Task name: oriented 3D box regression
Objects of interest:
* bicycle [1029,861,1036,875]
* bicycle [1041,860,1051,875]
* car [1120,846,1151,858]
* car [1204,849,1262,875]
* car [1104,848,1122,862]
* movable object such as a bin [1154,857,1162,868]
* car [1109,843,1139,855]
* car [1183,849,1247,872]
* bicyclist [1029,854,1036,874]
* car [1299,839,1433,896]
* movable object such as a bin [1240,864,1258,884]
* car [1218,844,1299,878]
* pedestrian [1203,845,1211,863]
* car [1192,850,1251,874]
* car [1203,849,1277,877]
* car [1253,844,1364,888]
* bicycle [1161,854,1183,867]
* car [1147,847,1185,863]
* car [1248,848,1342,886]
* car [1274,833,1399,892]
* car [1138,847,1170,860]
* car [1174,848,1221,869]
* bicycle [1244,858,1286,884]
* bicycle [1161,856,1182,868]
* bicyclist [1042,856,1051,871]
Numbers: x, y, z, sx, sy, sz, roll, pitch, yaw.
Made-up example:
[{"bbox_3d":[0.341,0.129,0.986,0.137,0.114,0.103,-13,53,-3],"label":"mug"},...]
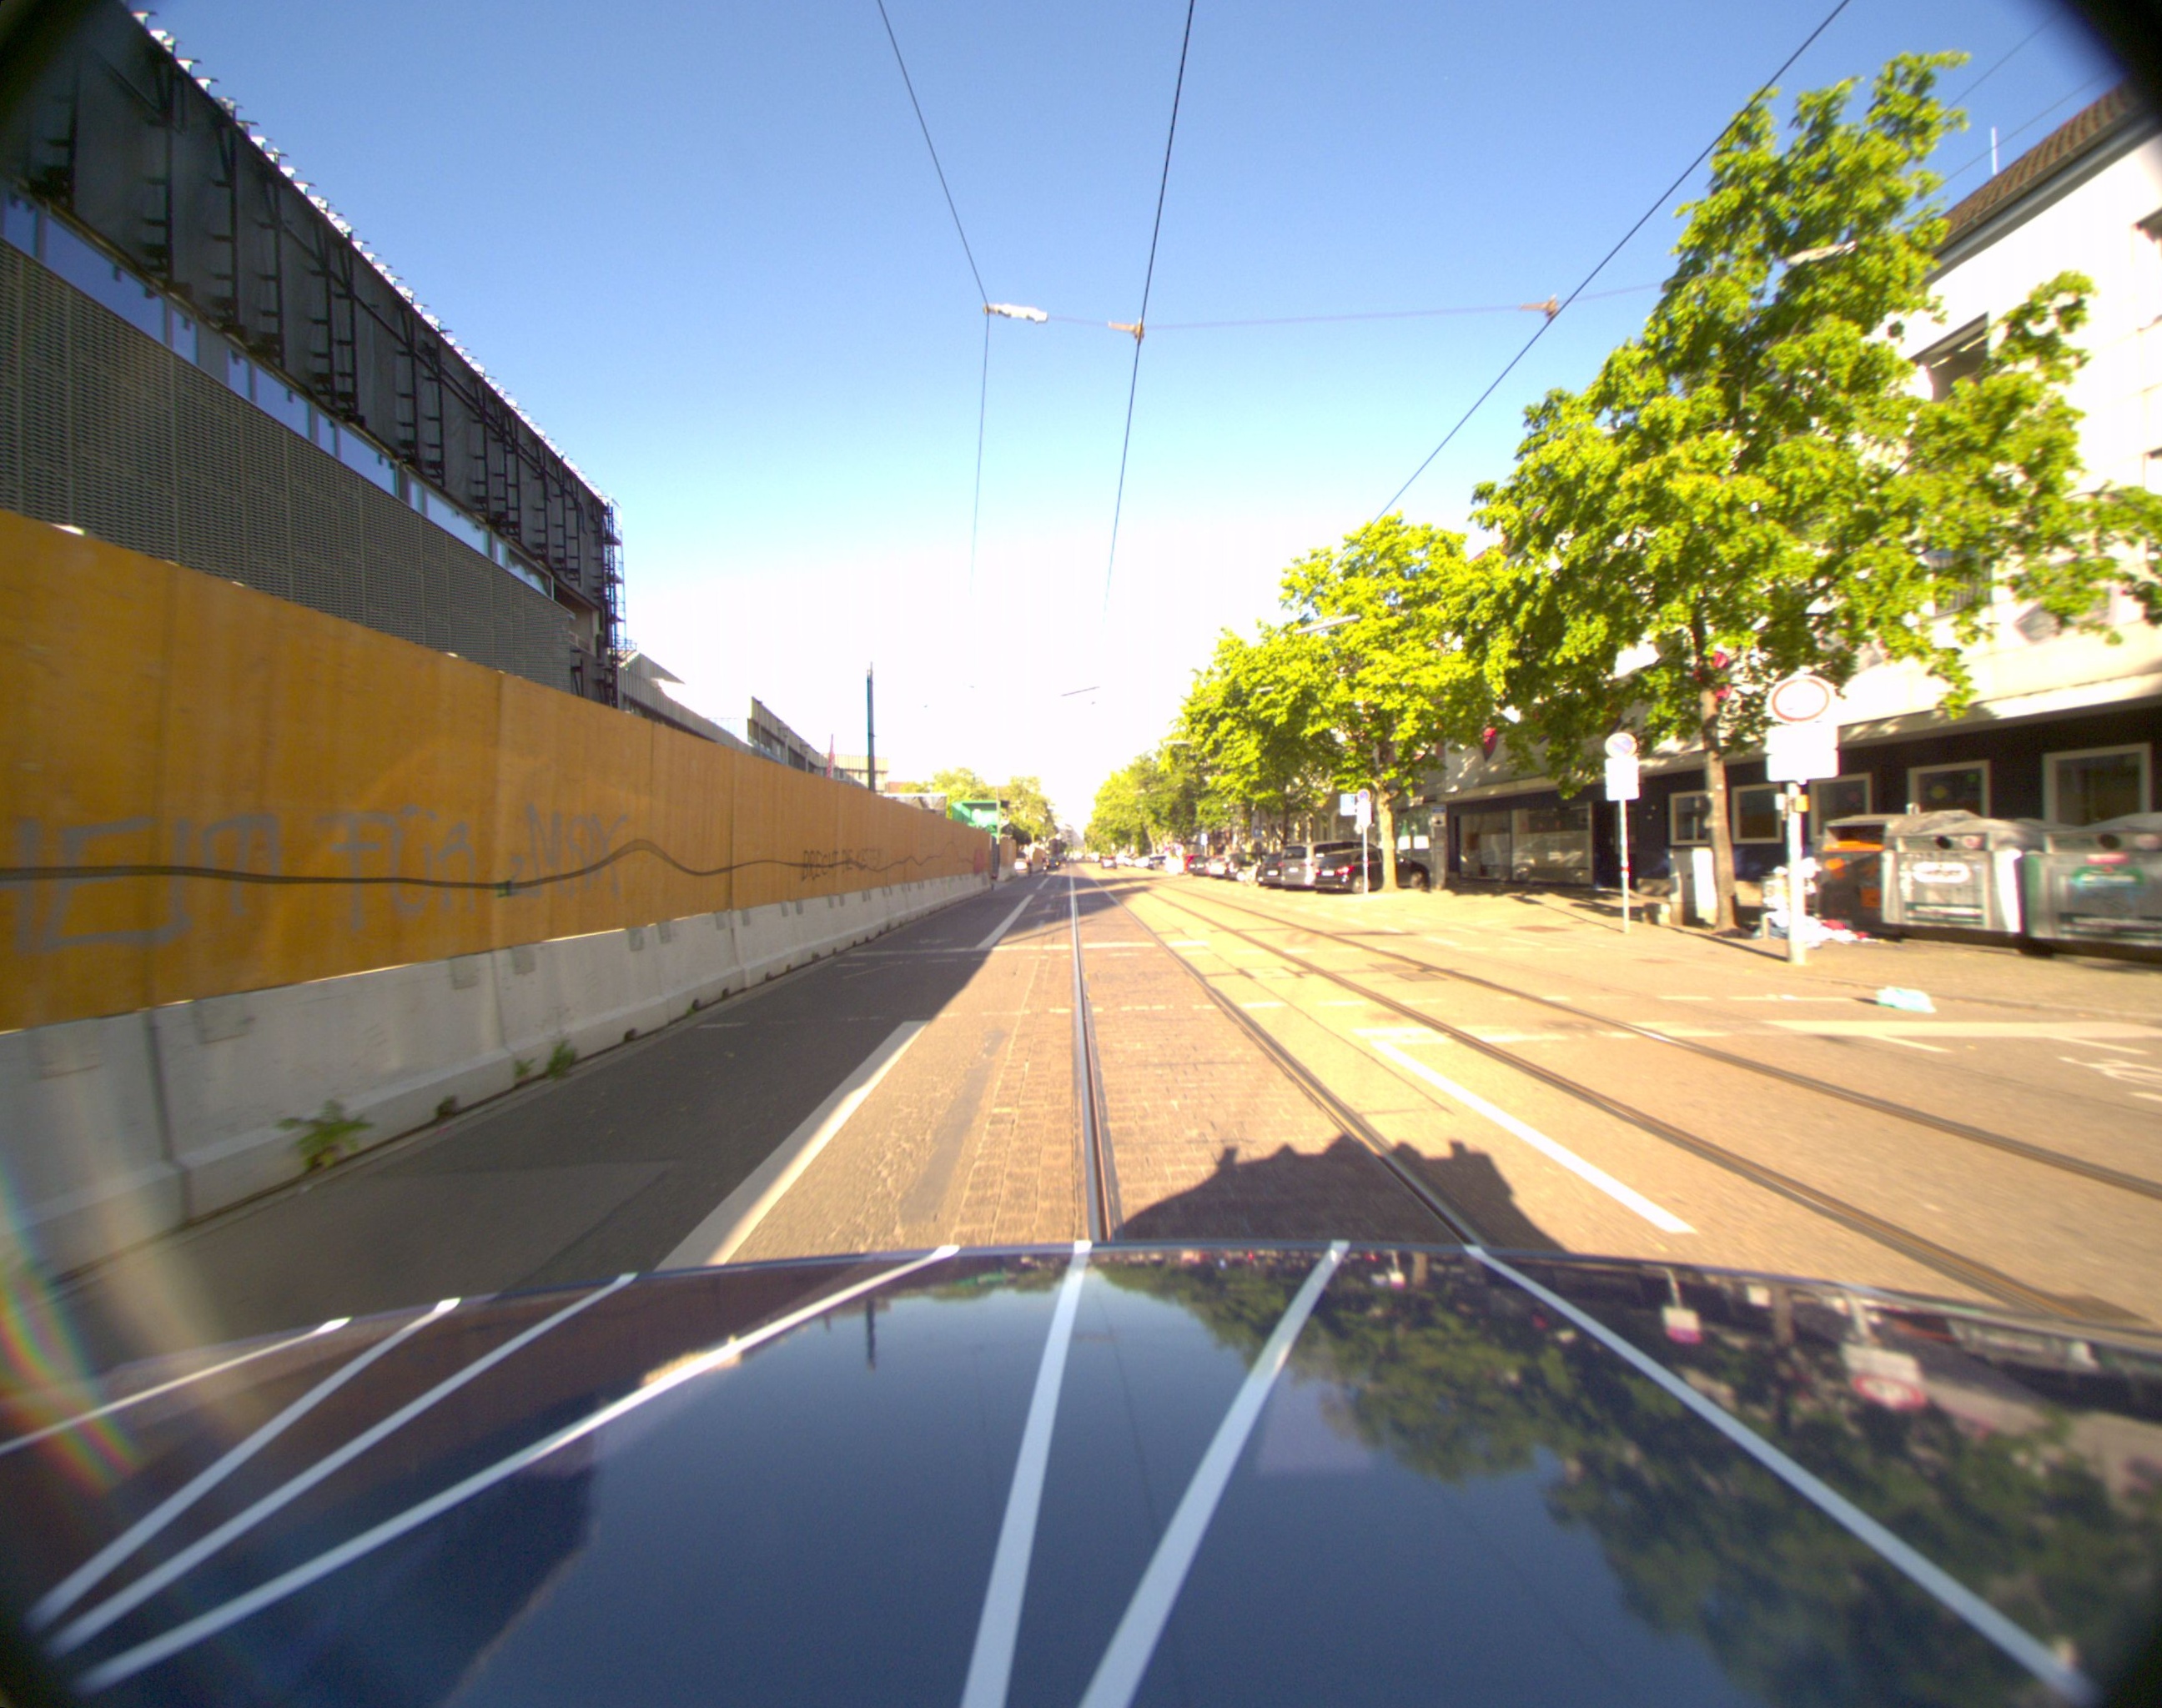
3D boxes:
[{"bbox_3d":[-3.928,1.133,61.437,0.559,1.120,2.275,0,0,-3],"label":"bicycle"},{"bbox_3d":[-2.835,1.072,61.611,0.669,1.148,2.275,-3,0,-1],"label":"bicycle"},{"bbox_3d":[7.928,-0.319,110.589,4.004,1.667,1.699,-2,0,-21],"label":"car"},{"bbox_3d":[9.970,0.510,49.731,3.378,1.484,1.610,-3,0,-28],"label":"car"},{"bbox_3d":[3.908,0.125,93.456,1.933,1.620,4.248,-1,0,-1],"label":"car"},{"bbox_3d":[7.839,0.890,77.500,0.685,1.071,0.710,-4,0,1],"label":"movable object such as a bin"},{"bbox_3d":[7.681,-0.884,137.056,4.944,2.002,2.072,-1,0,-16],"label":"car"},{"bbox_3d":[9.784,0.474,55.266,4.208,1.482,1.939,-3,0,-27],"label":"car"},{"bbox_3d":[-3.966,0.829,62.010,0.557,1.603,0.576,0,0,-3],"label":"bicyclist"},{"bbox_3d":[10.176,0.460,27.132,4.301,1.657,1.908,-4,1,-24],"label":"car"},{"bbox_3d":[8.229,0.979,37.242,0.577,0.908,0.574,-3,0,-16],"label":"movable object such as a bin"},{"bbox_3d":[10.107,0.378,43.456,4.115,1.668,1.840,-4,0,-3],"label":"car"},{"bbox_3d":[12.593,0.014,75.970,0.645,1.827,0.624,-1,1,1],"label":"pedestrian"},{"bbox_3d":[9.724,0.540,52.671,3.689,1.462,1.749,-3,1,-29],"label":"car"},{"bbox_3d":[9.796,0.542,46.818,4.122,1.503,1.837,-3,0,-27],"label":"car"},{"bbox_3d":[9.634,0.473,32.158,4.253,1.675,1.807,-2,0,-21],"label":"car"},{"bbox_3d":[8.894,0.620,73.979,2.007,1.081,0.567,-6,0,2],"label":"bicycle"},{"bbox_3d":[9.334,0.079,83.524,3.904,1.599,1.571,-2,1,-14],"label":"car"},{"bbox_3d":[9.973,0.566,35.391,3.872,1.468,1.840,-4,1,-23],"label":"car"},{"bbox_3d":[10.018,0.313,29.797,4.372,1.975,1.946,-3,1,-22],"label":"car"},{"bbox_3d":[9.394,-0.067,97.986,3.651,1.521,1.883,-2,0,-20],"label":"car"},{"bbox_3d":[9.942,0.415,64.845,3.629,1.544,1.665,-3,-1,-26],"label":"car"},{"bbox_3d":[8.961,0.826,36.901,1.973,1.138,0.492,-3,1,-19],"label":"bicycle"},{"bbox_3d":[8.981,0.794,75.309,1.972,1.073,0.568,-4,0,2],"label":"bicycle"},{"bbox_3d":[-2.797,0.778,61.591,0.653,1.230,0.353,0,1,-3],"label":"bicyclist"}]
